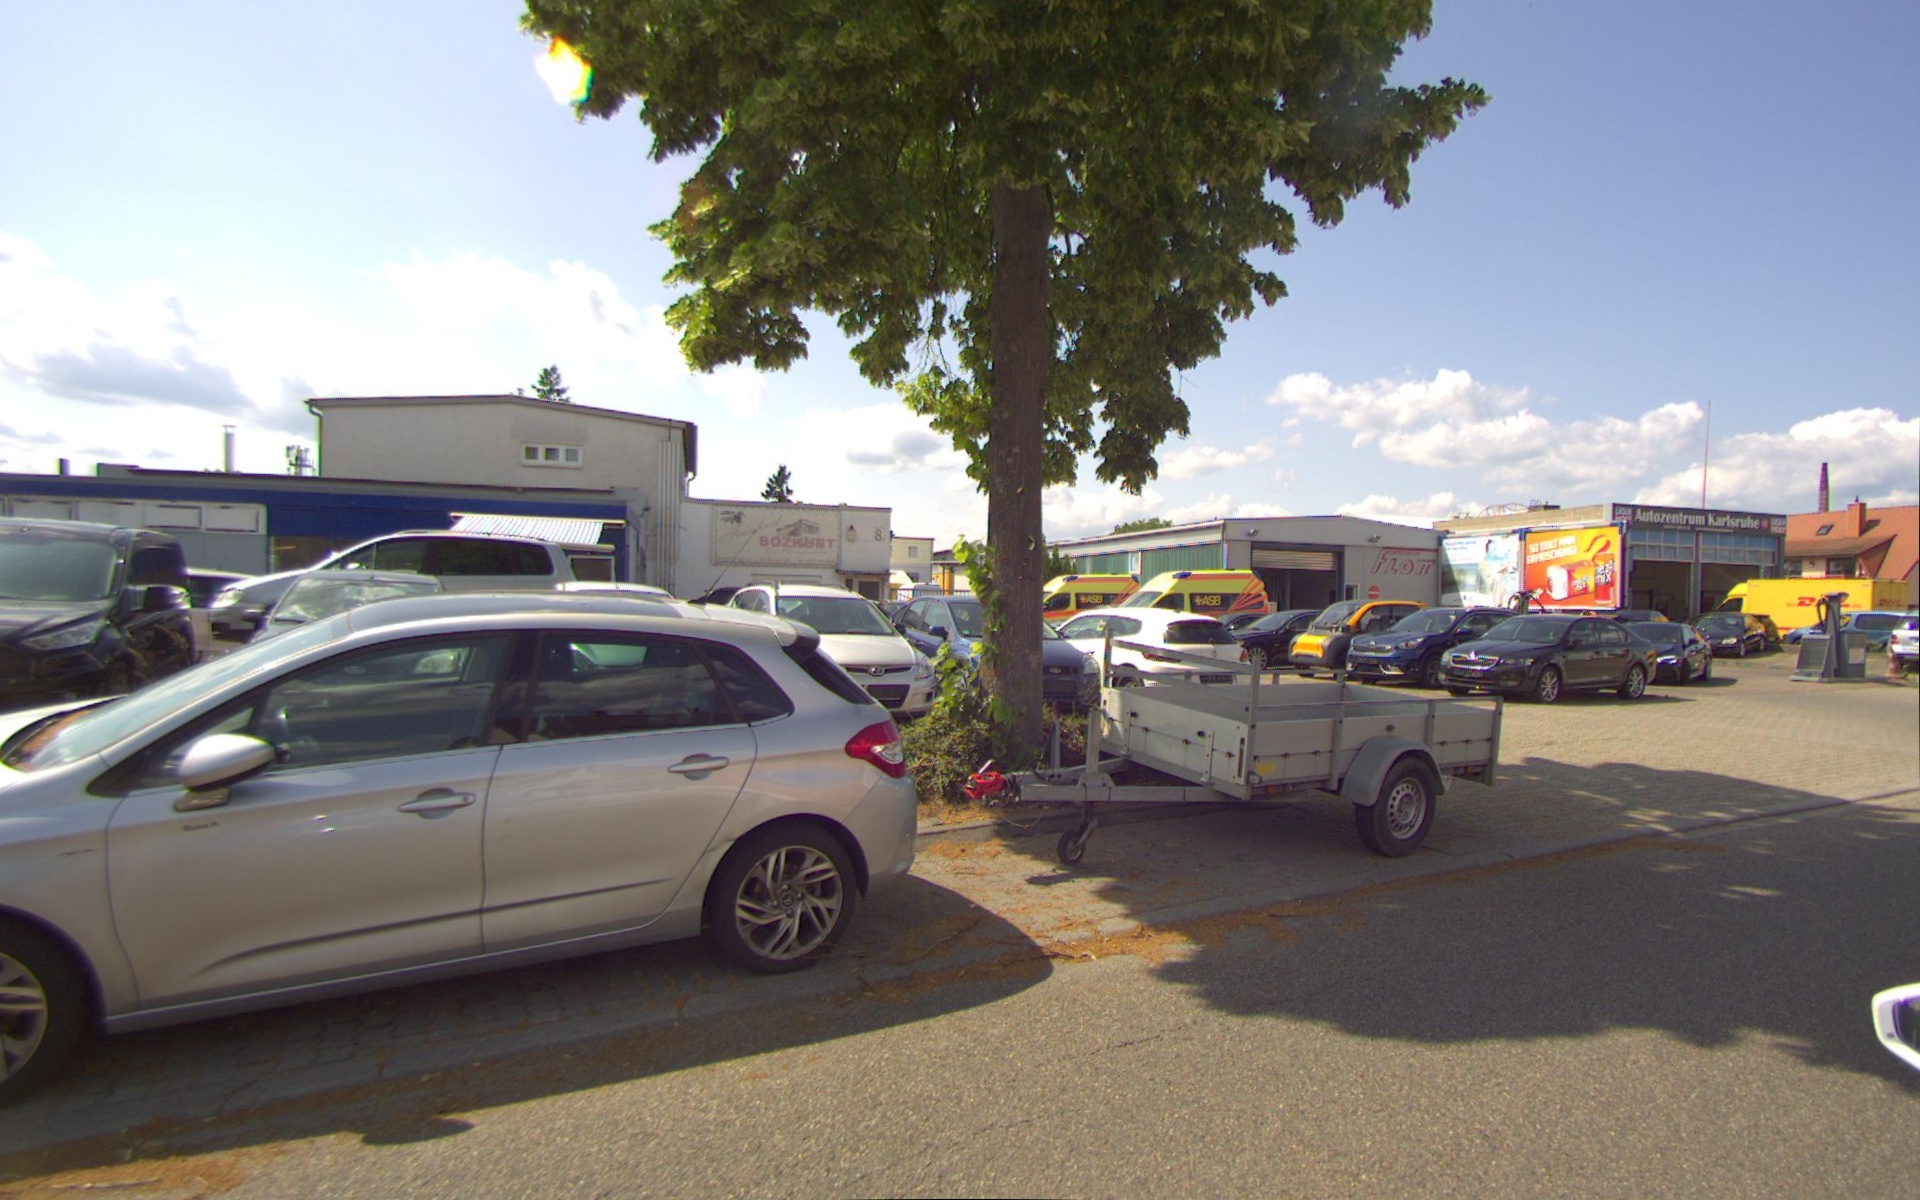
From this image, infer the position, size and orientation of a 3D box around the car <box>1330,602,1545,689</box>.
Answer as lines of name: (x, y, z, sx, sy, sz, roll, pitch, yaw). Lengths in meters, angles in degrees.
car: (9.516, 0.868, 19.959, 4.205, 1.554, 1.746, 1, 0, -29)

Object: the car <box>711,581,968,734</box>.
car: (-1.645, 0.590, 12.178, 1.803, 1.509, 4.130, 2, -1, -26)

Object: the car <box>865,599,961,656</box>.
car: (-1.365, 0.705, 27.381, 1.880, 1.398, 3.989, 1, 0, -13)

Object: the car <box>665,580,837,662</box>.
car: (-5.191, 0.522, 24.930, 3.942, 1.920, 1.707, 1, 0, -22)

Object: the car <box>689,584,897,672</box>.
car: (-3.432, 0.565, 20.602, 3.942, 1.660, 1.707, 1, 0, -22)

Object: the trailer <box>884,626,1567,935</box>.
trailer: (1.892, 0.901, 6.630, 4.458, 1.307, 1.751, 1, 3, -32)

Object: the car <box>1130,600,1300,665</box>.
car: (6.680, 0.826, 26.349, 4.106, 1.554, 1.749, 1, 1, -24)

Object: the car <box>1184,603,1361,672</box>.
car: (7.572, 0.892, 24.256, 4.113, 1.554, 1.746, 1, -1, -29)

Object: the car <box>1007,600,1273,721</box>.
car: (2.396, 0.751, 14.422, 1.802, 1.393, 4.015, 1, 1, -24)

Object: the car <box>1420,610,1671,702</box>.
car: (10.377, 0.936, 17.733, 4.528, 1.429, 1.746, 1, 0, -29)

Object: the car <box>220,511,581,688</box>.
car: (-7.298, 0.024, 13.370, 3.956, 2.040, 1.701, 1, 0, -33)

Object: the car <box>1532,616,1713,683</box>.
car: (15.956, 1.159, 24.534, 1.959, 1.413, 4.597, 1, -1, 9)

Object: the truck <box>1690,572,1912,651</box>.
truck: (33.746, 0.430, 40.678, 2.487, 2.888, 6.596, 1, 0, -16)

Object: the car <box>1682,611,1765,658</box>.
car: (26.883, 1.171, 35.319, 3.978, 1.305, 1.654, -3, 3, -43)

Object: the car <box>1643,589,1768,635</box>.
car: (30.361, 0.464, 41.029, 1.705, 1.754, 3.839, 1, 0, -18)

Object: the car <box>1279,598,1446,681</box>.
car: (8.700, 0.839, 21.731, 3.252, 1.678, 1.440, 1, 0, -22)

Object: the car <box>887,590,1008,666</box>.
car: (-0.367, 0.610, 22.821, 1.766, 1.457, 3.559, 5, -2, -17)

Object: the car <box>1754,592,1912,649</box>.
car: (31.696, 0.703, 36.610, 1.827, 1.834, 3.923, 1, 2, -19)

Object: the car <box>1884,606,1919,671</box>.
car: (28.966, 1.101, 29.635, 4.666, 1.728, 1.814, -1, 1, -39)

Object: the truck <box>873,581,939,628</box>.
truck: (-3.378, 0.295, 62.793, 3.746, 2.851, 1.744, 1, 0, -18)

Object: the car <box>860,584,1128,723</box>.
car: (0.259, 0.611, 13.148, 1.803, 1.509, 4.012, 2, -1, -26)

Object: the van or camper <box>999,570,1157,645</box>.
van or camper: (4.195, 0.252, 35.617, 5.283, 2.508, 1.989, 0, 1, -22)

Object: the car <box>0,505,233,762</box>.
car: (-7.940, 0.228, 8.808, 1.803, 1.812, 4.130, 2, -1, -26)

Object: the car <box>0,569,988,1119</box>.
car: (-2.155, 0.711, 4.268, 4.185, 1.549, 1.825, 1, 2, -29)

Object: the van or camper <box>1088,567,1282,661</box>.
van or camper: (6.502, 0.380, 28.968, 5.283, 2.508, 1.989, 0, 1, -22)

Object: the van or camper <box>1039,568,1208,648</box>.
van or camper: (5.451, 0.262, 33.415, 5.283, 2.508, 1.989, 0, 1, -22)

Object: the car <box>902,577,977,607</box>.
car: (-1.124, -0.420, 55.107, 3.746, 1.558, 1.744, 1, 0, -18)

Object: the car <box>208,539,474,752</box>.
car: (-5.880, 0.379, 10.008, 1.803, 1.640, 4.130, 2, -1, -26)

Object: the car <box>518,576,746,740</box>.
car: (-3.803, 0.539, 11.151, 1.803, 1.449, 4.130, 2, -1, -26)

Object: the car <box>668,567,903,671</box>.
car: (-3.180, 0.353, 18.255, 3.942, 1.718, 1.707, 1, 0, -22)
